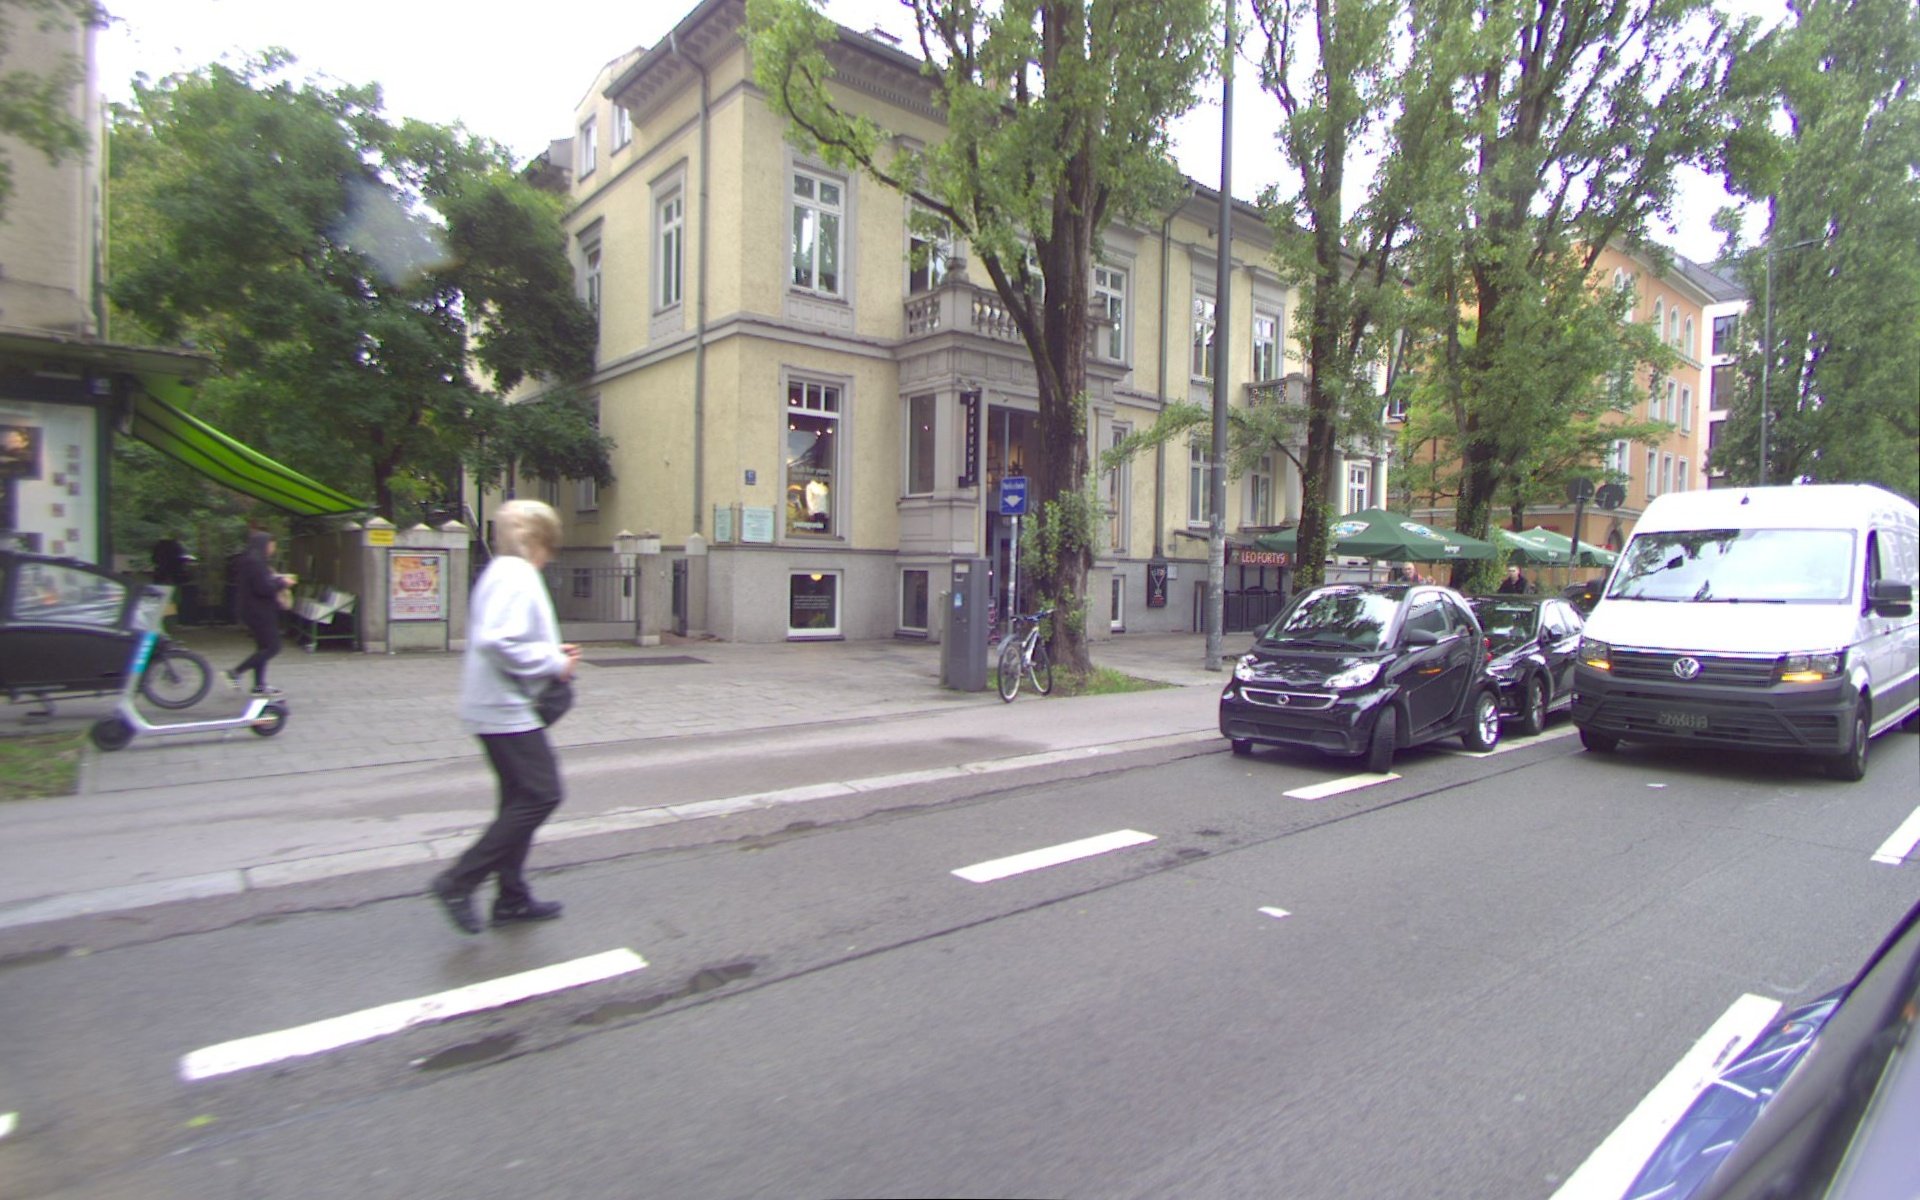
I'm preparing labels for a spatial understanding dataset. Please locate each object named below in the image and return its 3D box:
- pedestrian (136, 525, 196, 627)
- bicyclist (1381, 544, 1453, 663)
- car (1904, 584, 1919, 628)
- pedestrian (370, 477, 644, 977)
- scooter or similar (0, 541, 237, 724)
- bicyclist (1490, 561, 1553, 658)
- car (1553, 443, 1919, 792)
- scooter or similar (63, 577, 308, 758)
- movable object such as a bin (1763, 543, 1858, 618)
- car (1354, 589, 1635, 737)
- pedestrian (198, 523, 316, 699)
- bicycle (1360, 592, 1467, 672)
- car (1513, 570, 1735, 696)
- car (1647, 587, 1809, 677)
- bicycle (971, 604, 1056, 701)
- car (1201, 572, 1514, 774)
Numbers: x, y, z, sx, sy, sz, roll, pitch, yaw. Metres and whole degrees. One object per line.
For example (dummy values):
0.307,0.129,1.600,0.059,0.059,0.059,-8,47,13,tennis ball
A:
-13.403,-0.413,17.083,0.786,1.668,0.829,0,2,-39,pedestrian
7.109,0.039,15.758,0.828,1.779,0.657,2,1,43,bicyclist
36.376,0.199,37.381,4.421,1.572,1.787,0,1,-42,car
-1.899,0.442,4.225,0.855,1.795,0.829,0,2,-39,pedestrian
-7.407,0.243,8.177,2.454,1.393,0.637,1,2,-45,scooter or similar
10.257,0.157,18.492,0.735,1.708,0.741,0,1,-37,bicyclist
8.408,0.094,10.267,6.611,2.524,2.067,0,1,-41,car
-5.741,0.452,7.564,1.421,1.230,0.327,-1,4,-45,scooter or similar
38.517,-0.909,45.799,4.463,3.175,2.445,0,3,-40,movable object such as a bin
6.379,0.581,11.847,4.273,1.411,1.711,-1,1,-45,car
-6.840,0.085,9.851,0.856,1.625,0.617,0,3,-43,pedestrian
7.085,0.454,15.752,0.884,1.134,2.069,3,2,43,bicycle
10.211,0.397,15.434,4.371,1.658,1.805,-1,1,-42,car
14.139,0.508,18.558,3.884,1.434,1.696,0,2,-43,car
0.655,0.576,11.844,0.504,1.006,1.616,1,2,21,bicycle
3.646,0.539,9.181,2.682,1.537,1.595,0,1,-41,car
